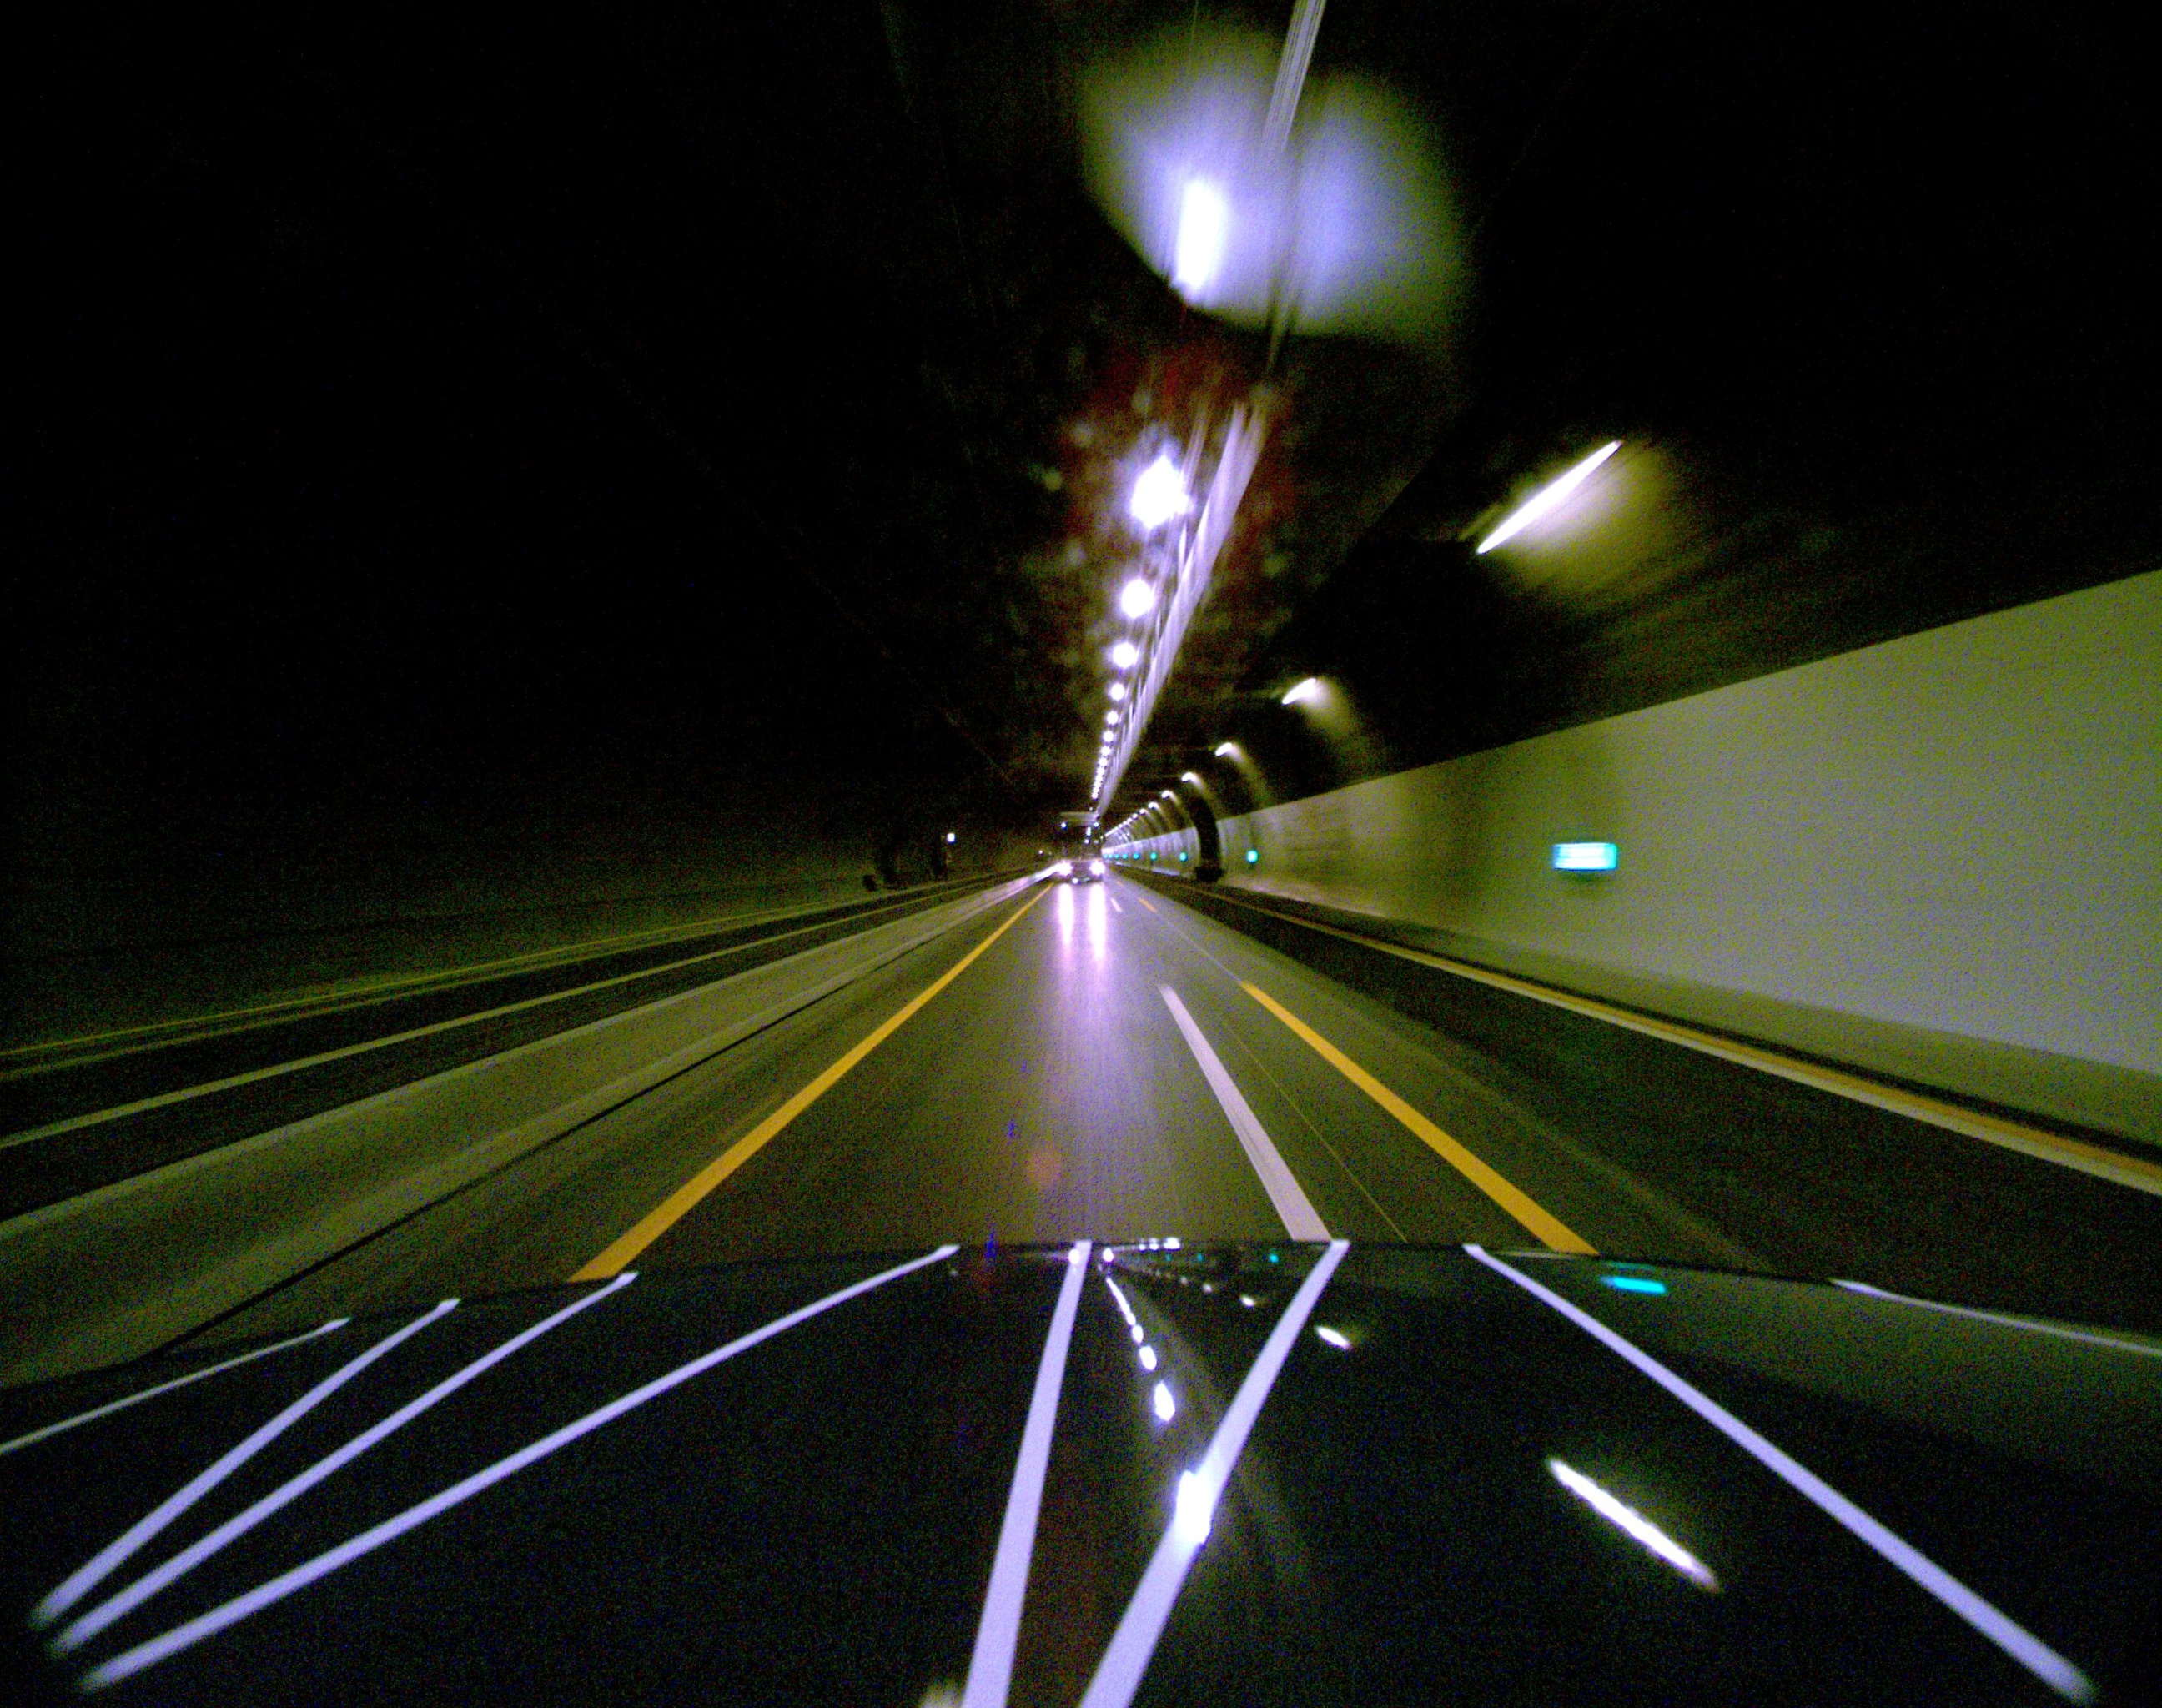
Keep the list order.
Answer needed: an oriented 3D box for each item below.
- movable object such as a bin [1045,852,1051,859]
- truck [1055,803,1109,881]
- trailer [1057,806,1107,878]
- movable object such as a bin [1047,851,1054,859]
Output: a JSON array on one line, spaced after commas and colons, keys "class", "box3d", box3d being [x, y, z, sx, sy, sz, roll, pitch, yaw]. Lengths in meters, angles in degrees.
[{"class": "movable object such as a bin", "box3d": [-9.693, 0.438, 223.327, 1.560, 1.699, 3.054, -2, 1, -1]}, {"class": "truck", "box3d": [0.054, -0.722, 46.509, 2.951, 4.338, 6.674, -2, 1, 0]}, {"class": "trailer", "box3d": [0.032, -0.757, 51.552, 2.940, 4.316, 10.050, -2, 1, -1]}, {"class": "movable object such as a bin", "box3d": [-8.734, 0.222, 217.098, 1.688, 2.133, 4.626, -2, 1, -1]}]
